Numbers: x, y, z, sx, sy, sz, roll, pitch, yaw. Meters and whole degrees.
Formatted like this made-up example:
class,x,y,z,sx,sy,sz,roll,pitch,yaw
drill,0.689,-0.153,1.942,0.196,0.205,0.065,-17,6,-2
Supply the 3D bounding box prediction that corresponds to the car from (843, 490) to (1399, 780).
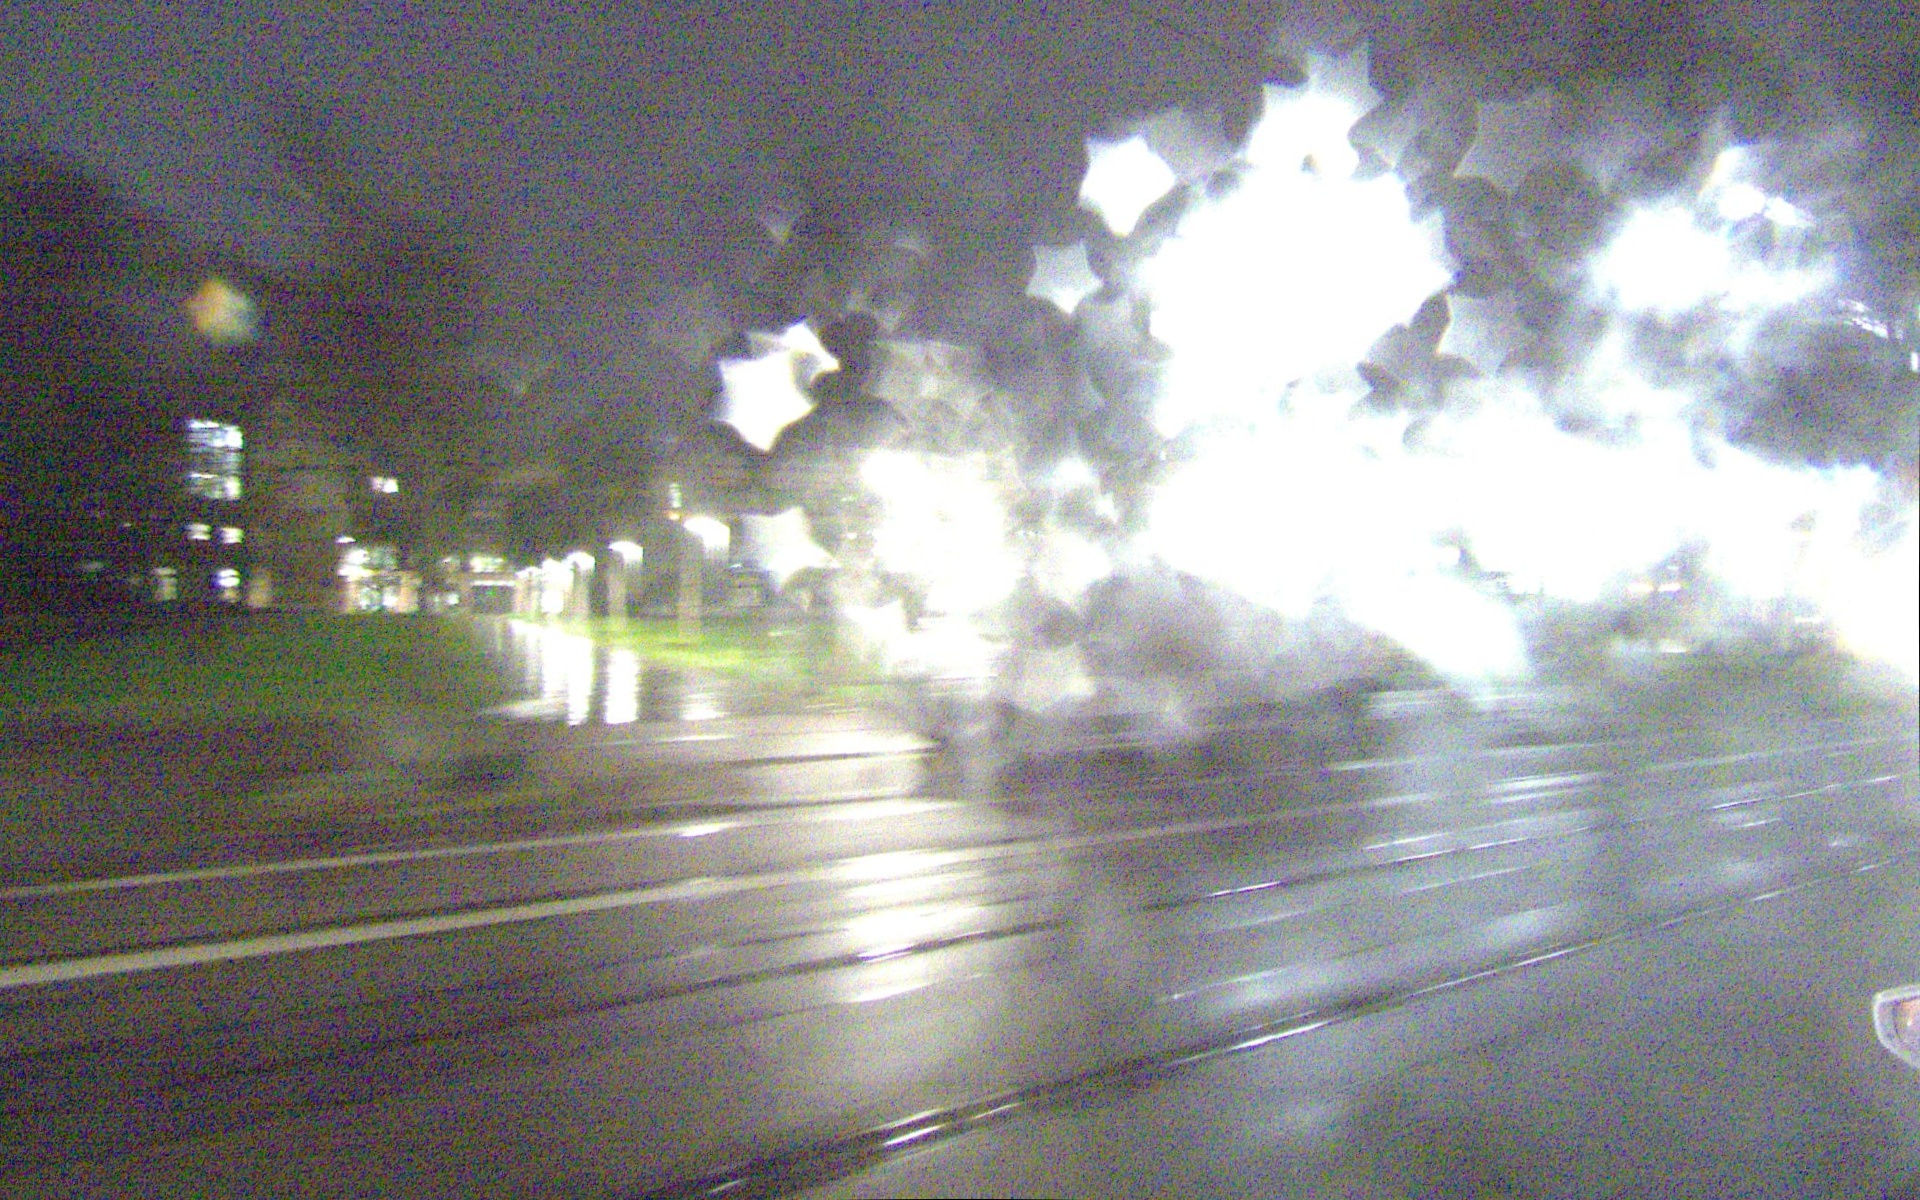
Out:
class,x,y,z,sx,sy,sz,roll,pitch,yaw
car,2.000,0.350,11.558,6.311,2.626,2.177,1,0,-28
